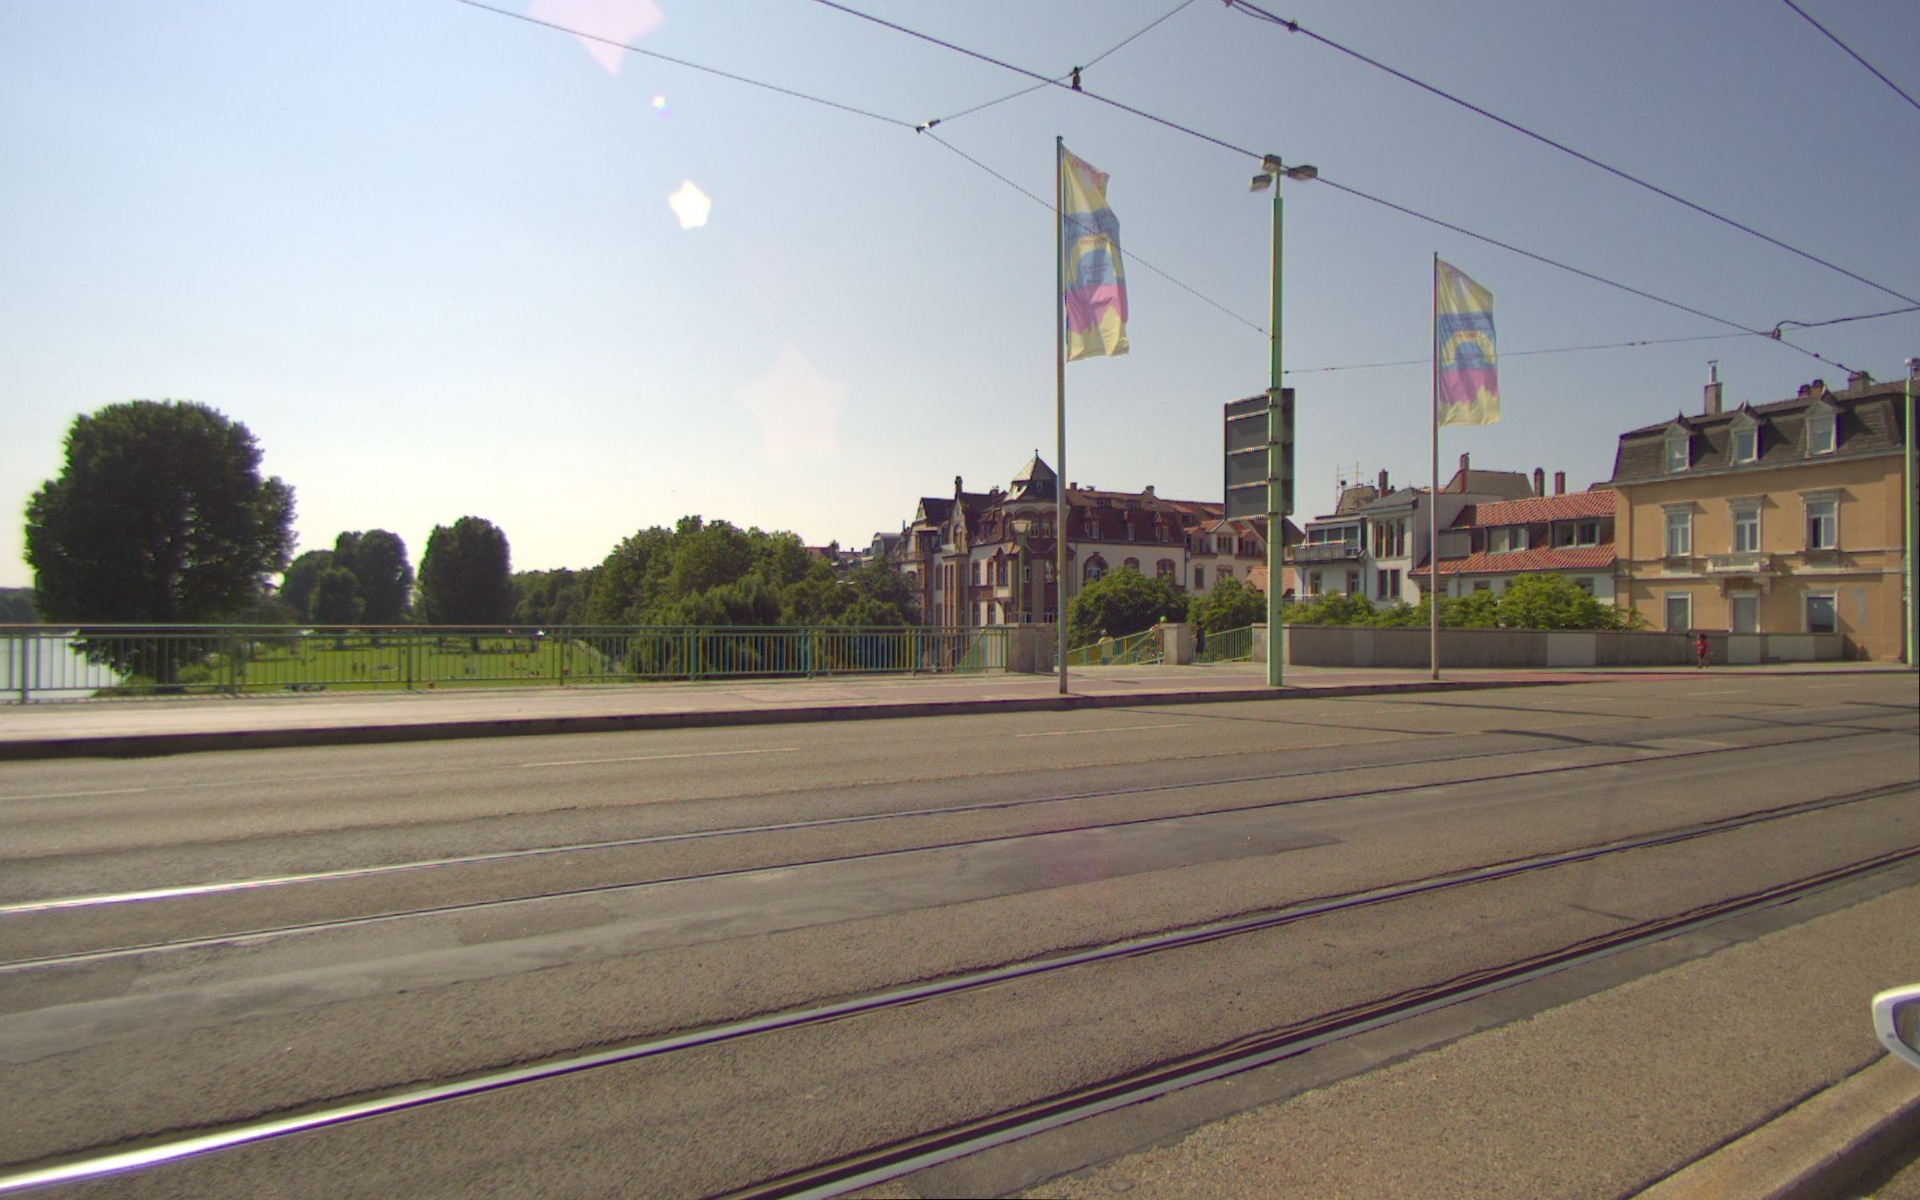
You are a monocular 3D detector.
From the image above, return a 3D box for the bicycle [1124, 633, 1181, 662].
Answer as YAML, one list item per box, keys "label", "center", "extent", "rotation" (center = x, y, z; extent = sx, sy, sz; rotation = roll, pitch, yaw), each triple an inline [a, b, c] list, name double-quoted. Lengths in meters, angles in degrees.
- label: "bicycle"
  center: [5.673, 1.385, 29.763]
  extent: [0.614, 0.726, 1.920]
  rotation: [0, 1, -26]

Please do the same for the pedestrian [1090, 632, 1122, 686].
- label: "pedestrian"
  center: [4.936, 1.977, 33.971]
  extent: [0.791, 1.804, 0.743]
  rotation: [1, -1, -25]

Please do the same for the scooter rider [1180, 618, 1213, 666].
- label: "scooter rider"
  center: [7.042, 1.254, 29.906]
  extent: [0.589, 1.333, 0.767]
  rotation: [2, 3, -18]

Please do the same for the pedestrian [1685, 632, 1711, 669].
- label: "pedestrian"
  center: [24.169, 1.646, 32.886]
  extent: [0.537, 1.161, 0.411]
  rotation: [1, 3, -24]

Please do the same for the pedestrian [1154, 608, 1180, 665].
- label: "pedestrian"
  center: [6.128, 1.084, 29.793]
  extent: [0.408, 1.654, 0.623]
  rotation: [1, 1, -26]

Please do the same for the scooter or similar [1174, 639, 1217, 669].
- label: "scooter or similar"
  center: [7.011, 1.618, 29.954]
  extent: [0.945, 0.793, 0.779]
  rotation: [2, 3, -19]
